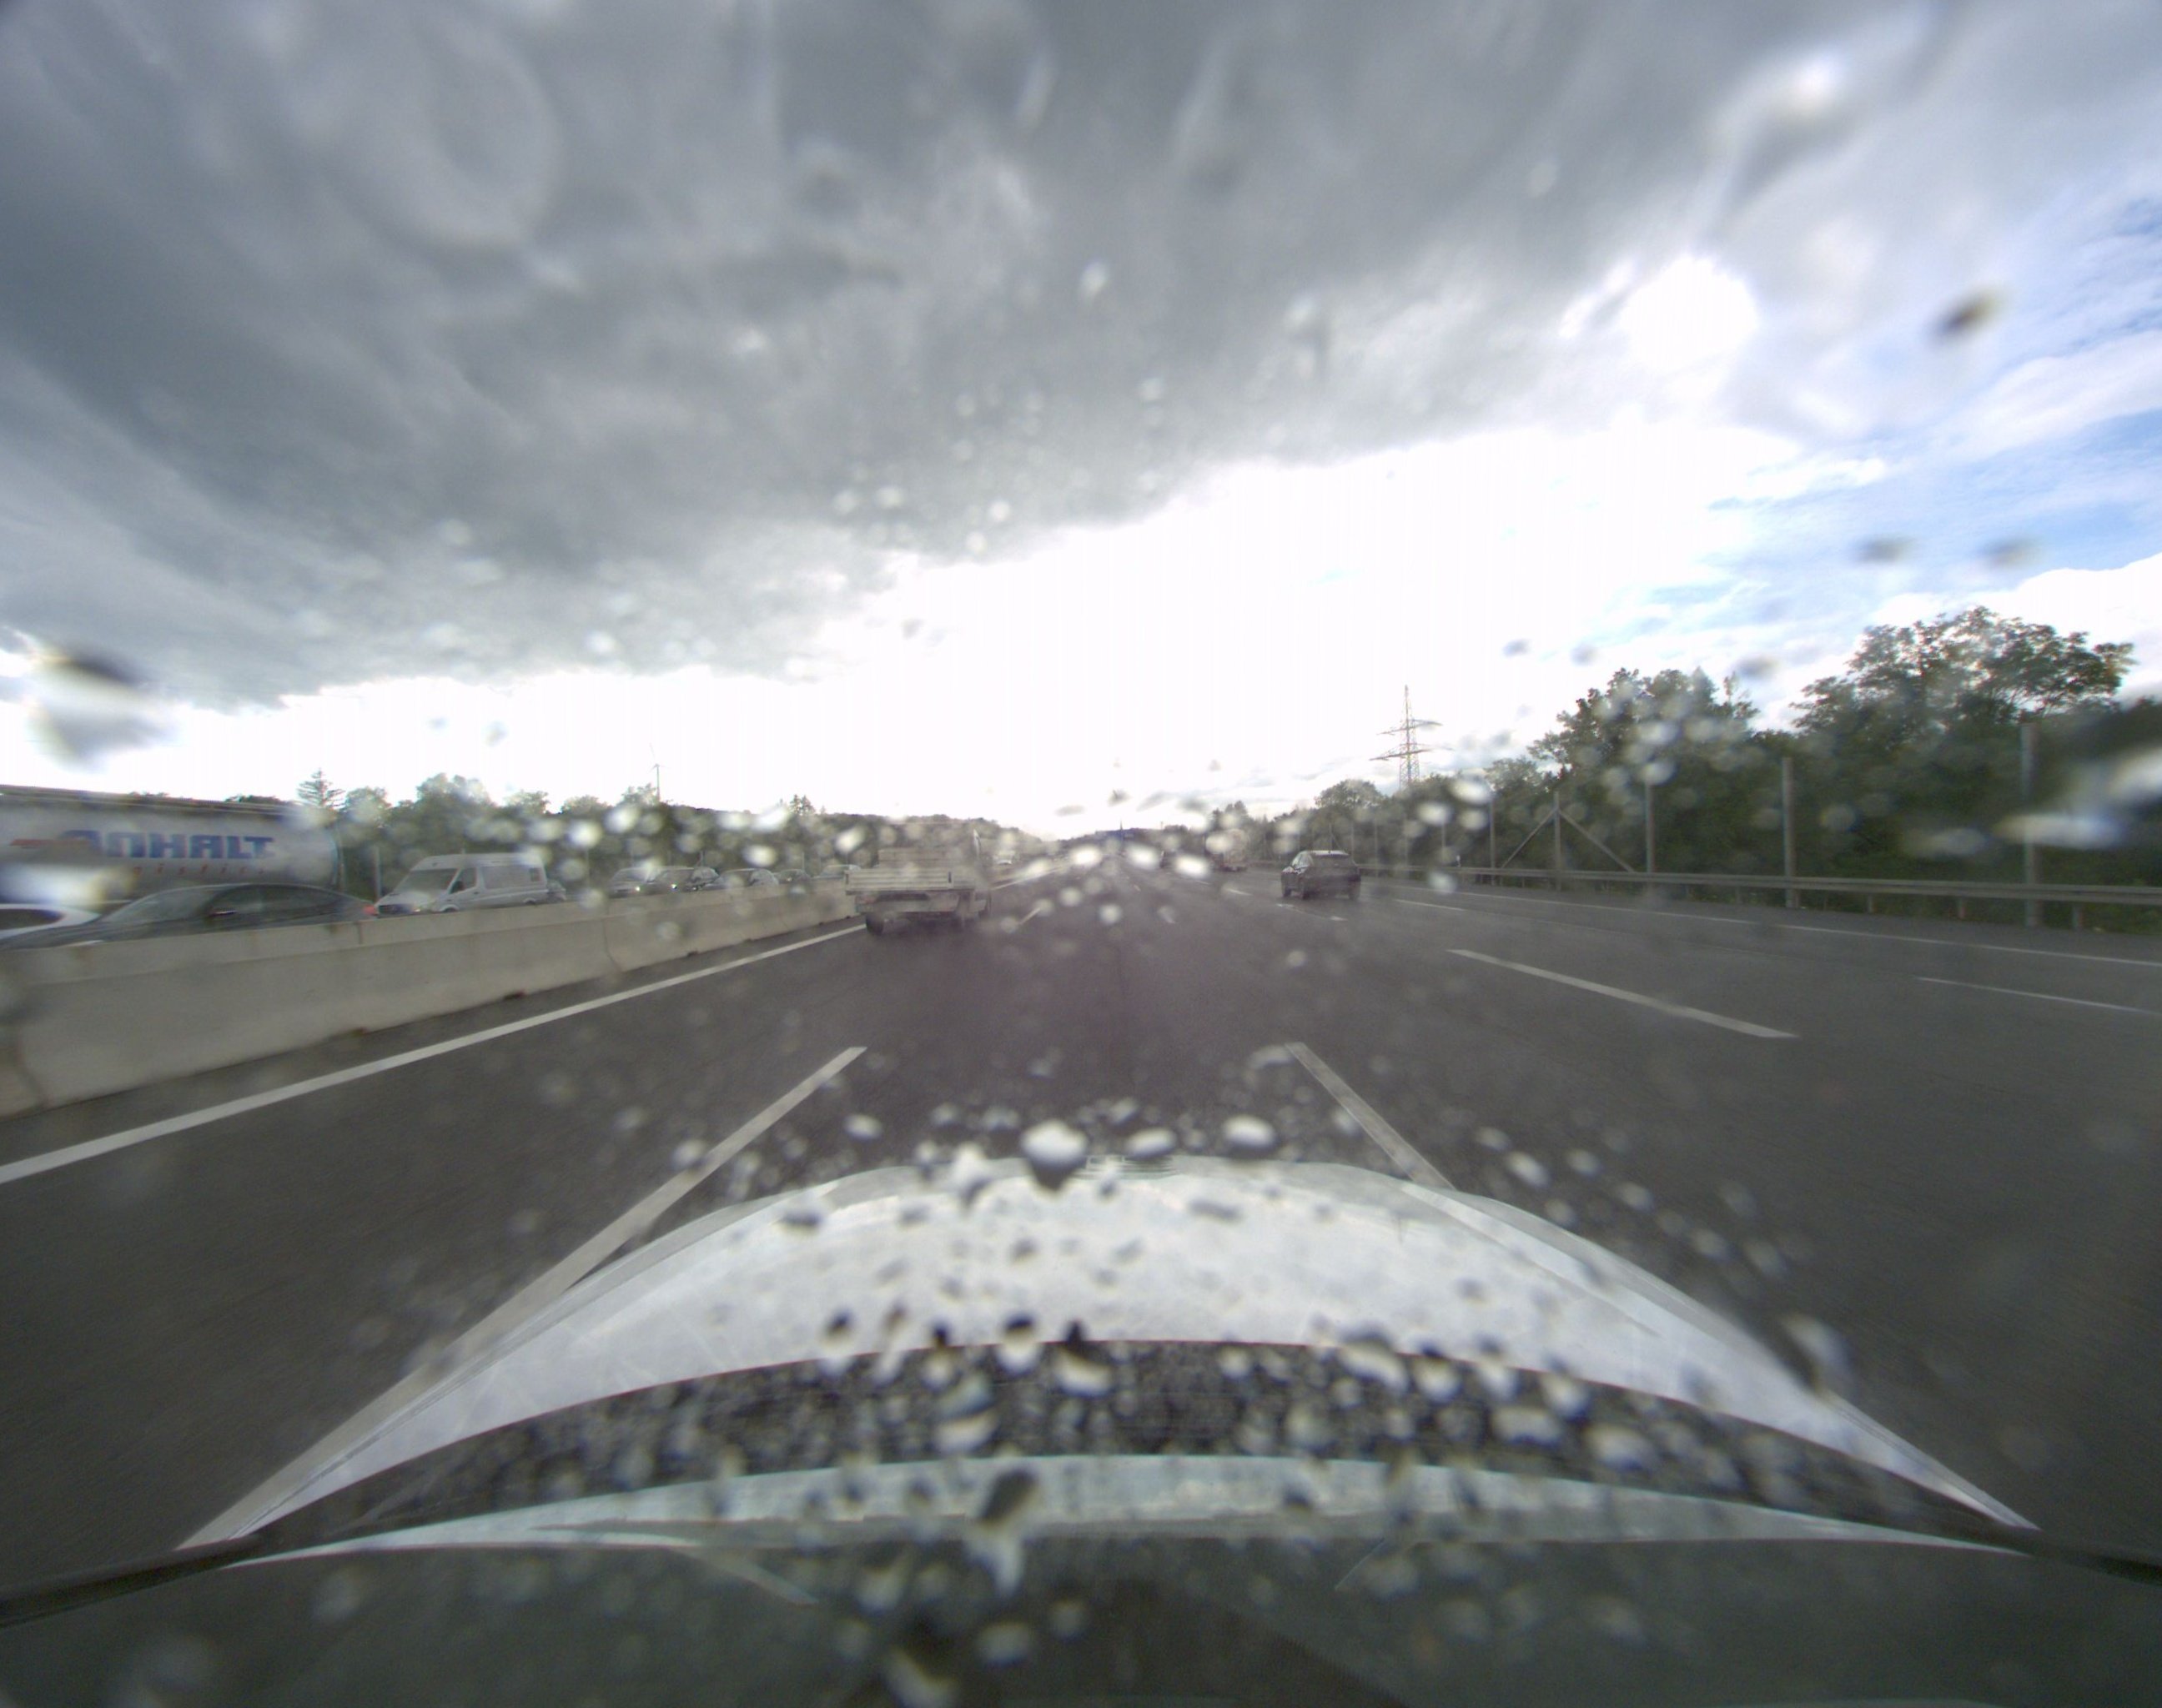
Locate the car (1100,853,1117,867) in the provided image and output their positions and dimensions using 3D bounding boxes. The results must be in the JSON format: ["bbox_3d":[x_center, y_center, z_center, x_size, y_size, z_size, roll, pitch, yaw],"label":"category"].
[{"bbox_3d":[3.655,0.759,108.084,2.037,1.699,4.003,-1,0,3],"label":"car"}]

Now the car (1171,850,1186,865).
[{"bbox_3d":[16.357,0.539,136.788,2.038,2.498,4.001,-1,0,1],"label":"car"}]

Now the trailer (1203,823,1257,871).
[{"bbox_3d":[14.060,-0.621,77.954,3.320,4.176,11.843,-1,0,2],"label":"trailer"}]

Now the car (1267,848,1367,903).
[{"bbox_3d":[7.931,0.656,27.878,2.038,1.699,5.007,0,0,1],"label":"car"}]

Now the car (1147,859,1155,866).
[{"bbox_3d":[19.269,2.267,223.463,1.986,1.750,4.498,-1,0,2],"label":"car"}]

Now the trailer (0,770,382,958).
[{"bbox_3d":[-21.528,0.203,16.465,2.700,3.526,13.615,-1,0,2],"label":"trailer"}]

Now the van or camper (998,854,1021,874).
[{"bbox_3d":[-9.900,1.383,113.524,2.170,2.705,7.523,-1,0,2],"label":"van or camper"}]

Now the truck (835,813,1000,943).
[{"bbox_3d":[-3.412,0.425,18.874,2.345,2.408,7.356,0,0,0],"label":"truck"}]

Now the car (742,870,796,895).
[{"bbox_3d":[-20.205,1.810,52.867,1.860,1.452,4.001,-1,0,2],"label":"car"}]

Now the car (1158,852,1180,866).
[{"bbox_3d":[10.533,0.583,97.278,2.092,1.699,3.998,-1,0,-2],"label":"car"}]

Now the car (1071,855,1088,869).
[{"bbox_3d":[-0.190,1.003,103.566,2.038,1.699,4.001,-1,0,1],"label":"car"}]

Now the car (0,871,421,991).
[{"bbox_3d":[-13.642,1.065,13.172,1.758,1.484,4.974,-1,0,2],"label":"car"}]

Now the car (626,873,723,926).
[{"bbox_3d":[-16.762,1.817,33.788,1.886,1.953,4.002,-1,0,2],"label":"car"}]

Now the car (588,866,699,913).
[{"bbox_3d":[-20.302,1.574,38.100,2.108,1.937,5.441,-1,0,2],"label":"car"}]

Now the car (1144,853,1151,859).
[{"bbox_3d":[21.337,0.661,261.689,2.037,1.699,4.003,-1,0,3],"label":"car"}]

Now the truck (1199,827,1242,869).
[{"bbox_3d":[14.267,-0.615,83.897,3.320,4.080,8.275,-1,0,2],"label":"truck"}]

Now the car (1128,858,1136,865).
[{"bbox_3d":[13.766,1.946,220.524,2.037,1.699,4.003,-1,0,3],"label":"car"}]

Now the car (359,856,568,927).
[{"bbox_3d":[-21.296,1.180,28.638,2.108,2.149,6.621,-1,0,2],"label":"car"}]

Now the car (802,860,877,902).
[{"bbox_3d":[-12.281,1.306,41.765,2.108,1.937,5.217,-1,0,2],"label":"car"}]

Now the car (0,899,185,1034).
[{"bbox_3d":[-17.928,1.863,12.919,1.719,1.969,5.045,-1,0,2],"label":"car"}]
